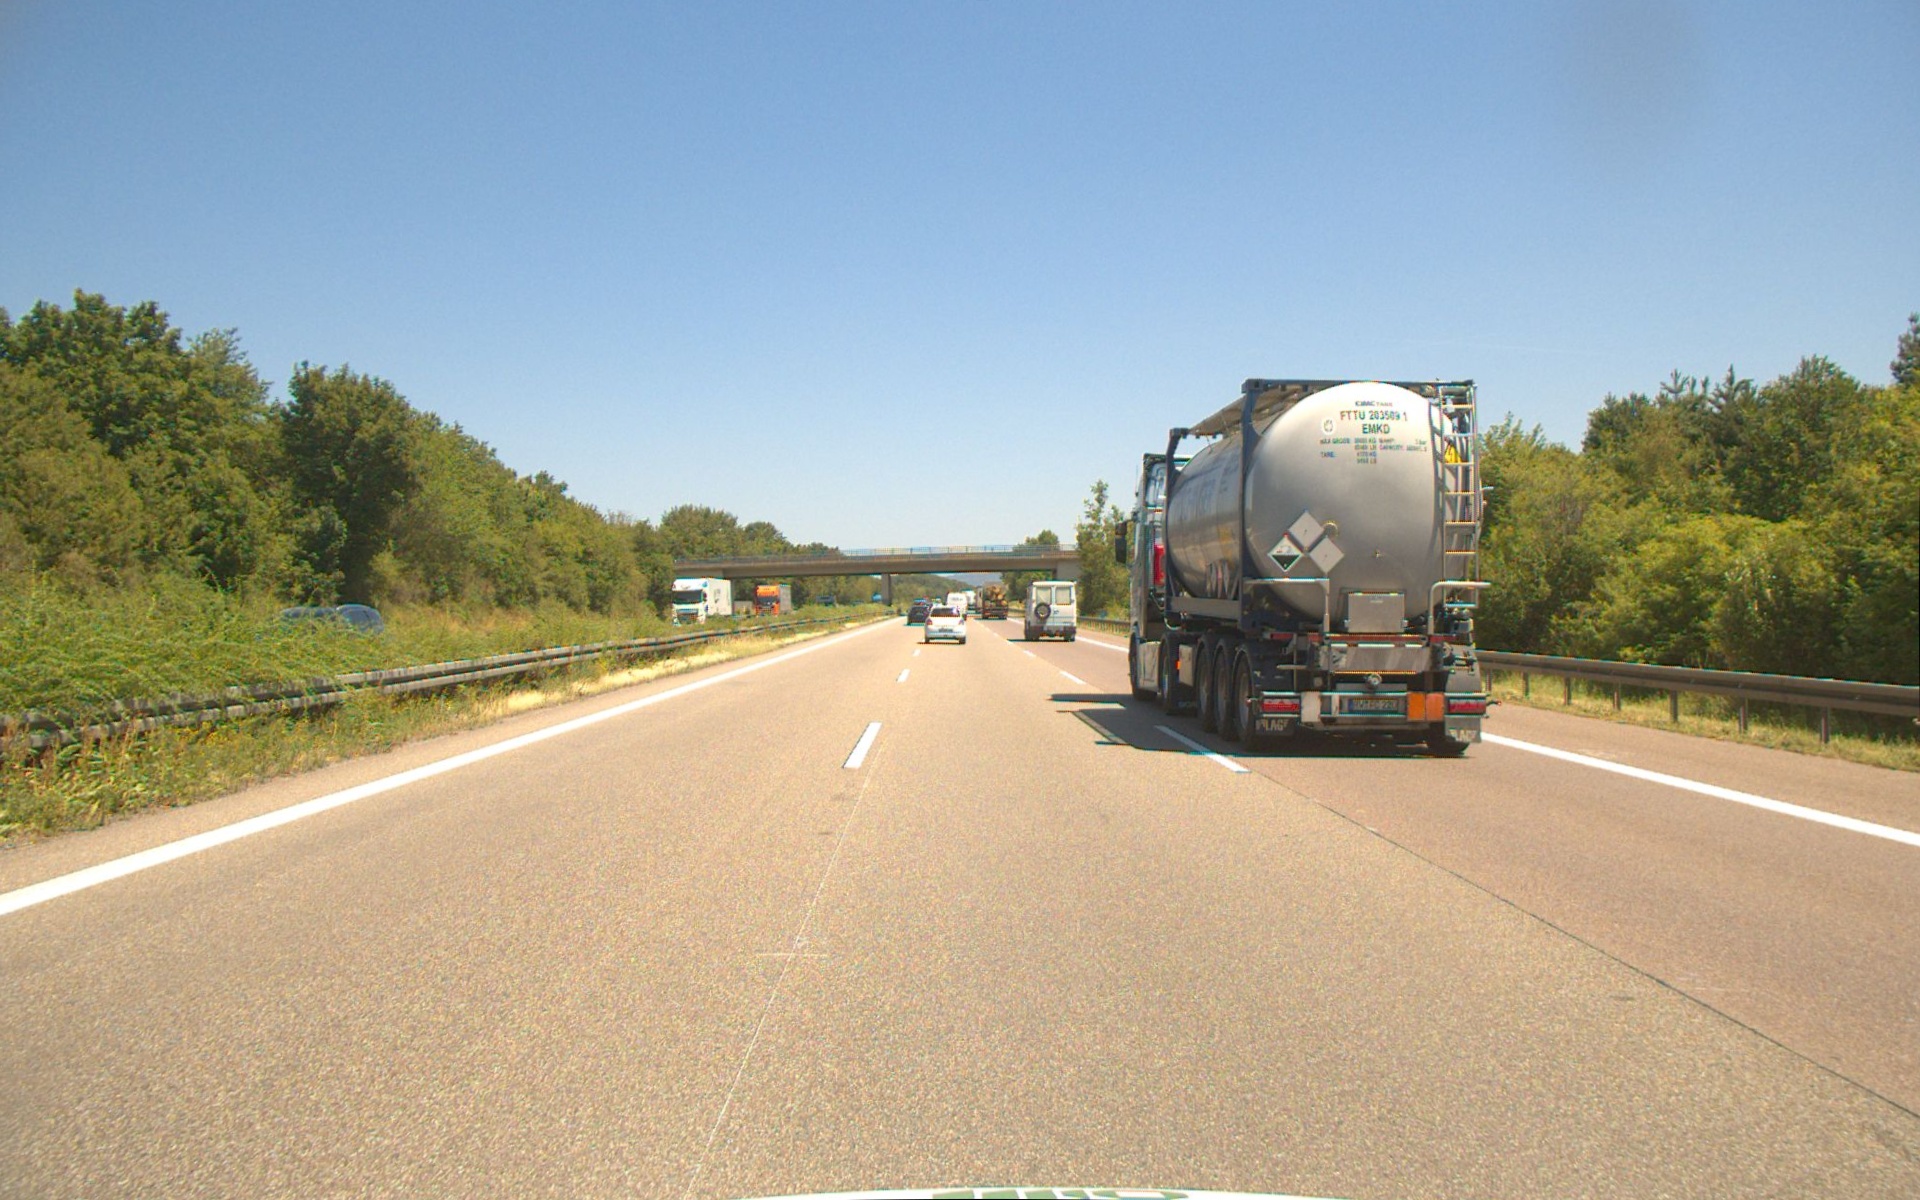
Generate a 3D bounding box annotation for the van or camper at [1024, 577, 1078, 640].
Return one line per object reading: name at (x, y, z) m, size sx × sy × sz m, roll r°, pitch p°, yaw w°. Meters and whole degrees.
van or camper at (4.109, 0.398, 75.683) m, size 2.070 × 2.750 × 6.366 m, roll 0°, pitch 0°, yaw -1°

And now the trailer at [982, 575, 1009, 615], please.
trailer at (3.690, -0.516, 174.281) m, size 2.598 × 4.028 × 13.636 m, roll 0°, pitch 0°, yaw 0°

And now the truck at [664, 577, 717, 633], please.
truck at (-21.062, 0.376, 129.360) m, size 3.129 × 4.221 × 5.942 m, roll 1°, pitch 0°, yaw -1°

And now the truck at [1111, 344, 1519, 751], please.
truck at (4.250, -0.508, 23.592) m, size 2.741 × 4.117 × 13.352 m, roll 1°, pitch 0°, yaw -1°

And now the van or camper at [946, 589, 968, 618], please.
van or camper at (-0.250, 0.315, 157.119) m, size 2.016 × 2.668 × 5.985 m, roll 0°, pitch 0°, yaw 0°

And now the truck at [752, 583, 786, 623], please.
truck at (-21.035, 0.299, 182.523) m, size 3.073 × 4.305 × 5.175 m, roll 1°, pitch 0°, yaw 0°

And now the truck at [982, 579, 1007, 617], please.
truck at (3.759, -0.204, 181.486) m, size 2.615 × 4.064 × 6.636 m, roll 0°, pitch 0°, yaw 0°

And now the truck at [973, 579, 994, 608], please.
truck at (3.664, -0.968, 254.432) m, size 3.015 × 4.283 × 16.844 m, roll 1°, pitch 0°, yaw 1°

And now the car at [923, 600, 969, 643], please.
car at (-0.608, 0.884, 68.094) m, size 1.819 × 1.681 × 3.999 m, roll 1°, pitch 0°, yaw -1°
